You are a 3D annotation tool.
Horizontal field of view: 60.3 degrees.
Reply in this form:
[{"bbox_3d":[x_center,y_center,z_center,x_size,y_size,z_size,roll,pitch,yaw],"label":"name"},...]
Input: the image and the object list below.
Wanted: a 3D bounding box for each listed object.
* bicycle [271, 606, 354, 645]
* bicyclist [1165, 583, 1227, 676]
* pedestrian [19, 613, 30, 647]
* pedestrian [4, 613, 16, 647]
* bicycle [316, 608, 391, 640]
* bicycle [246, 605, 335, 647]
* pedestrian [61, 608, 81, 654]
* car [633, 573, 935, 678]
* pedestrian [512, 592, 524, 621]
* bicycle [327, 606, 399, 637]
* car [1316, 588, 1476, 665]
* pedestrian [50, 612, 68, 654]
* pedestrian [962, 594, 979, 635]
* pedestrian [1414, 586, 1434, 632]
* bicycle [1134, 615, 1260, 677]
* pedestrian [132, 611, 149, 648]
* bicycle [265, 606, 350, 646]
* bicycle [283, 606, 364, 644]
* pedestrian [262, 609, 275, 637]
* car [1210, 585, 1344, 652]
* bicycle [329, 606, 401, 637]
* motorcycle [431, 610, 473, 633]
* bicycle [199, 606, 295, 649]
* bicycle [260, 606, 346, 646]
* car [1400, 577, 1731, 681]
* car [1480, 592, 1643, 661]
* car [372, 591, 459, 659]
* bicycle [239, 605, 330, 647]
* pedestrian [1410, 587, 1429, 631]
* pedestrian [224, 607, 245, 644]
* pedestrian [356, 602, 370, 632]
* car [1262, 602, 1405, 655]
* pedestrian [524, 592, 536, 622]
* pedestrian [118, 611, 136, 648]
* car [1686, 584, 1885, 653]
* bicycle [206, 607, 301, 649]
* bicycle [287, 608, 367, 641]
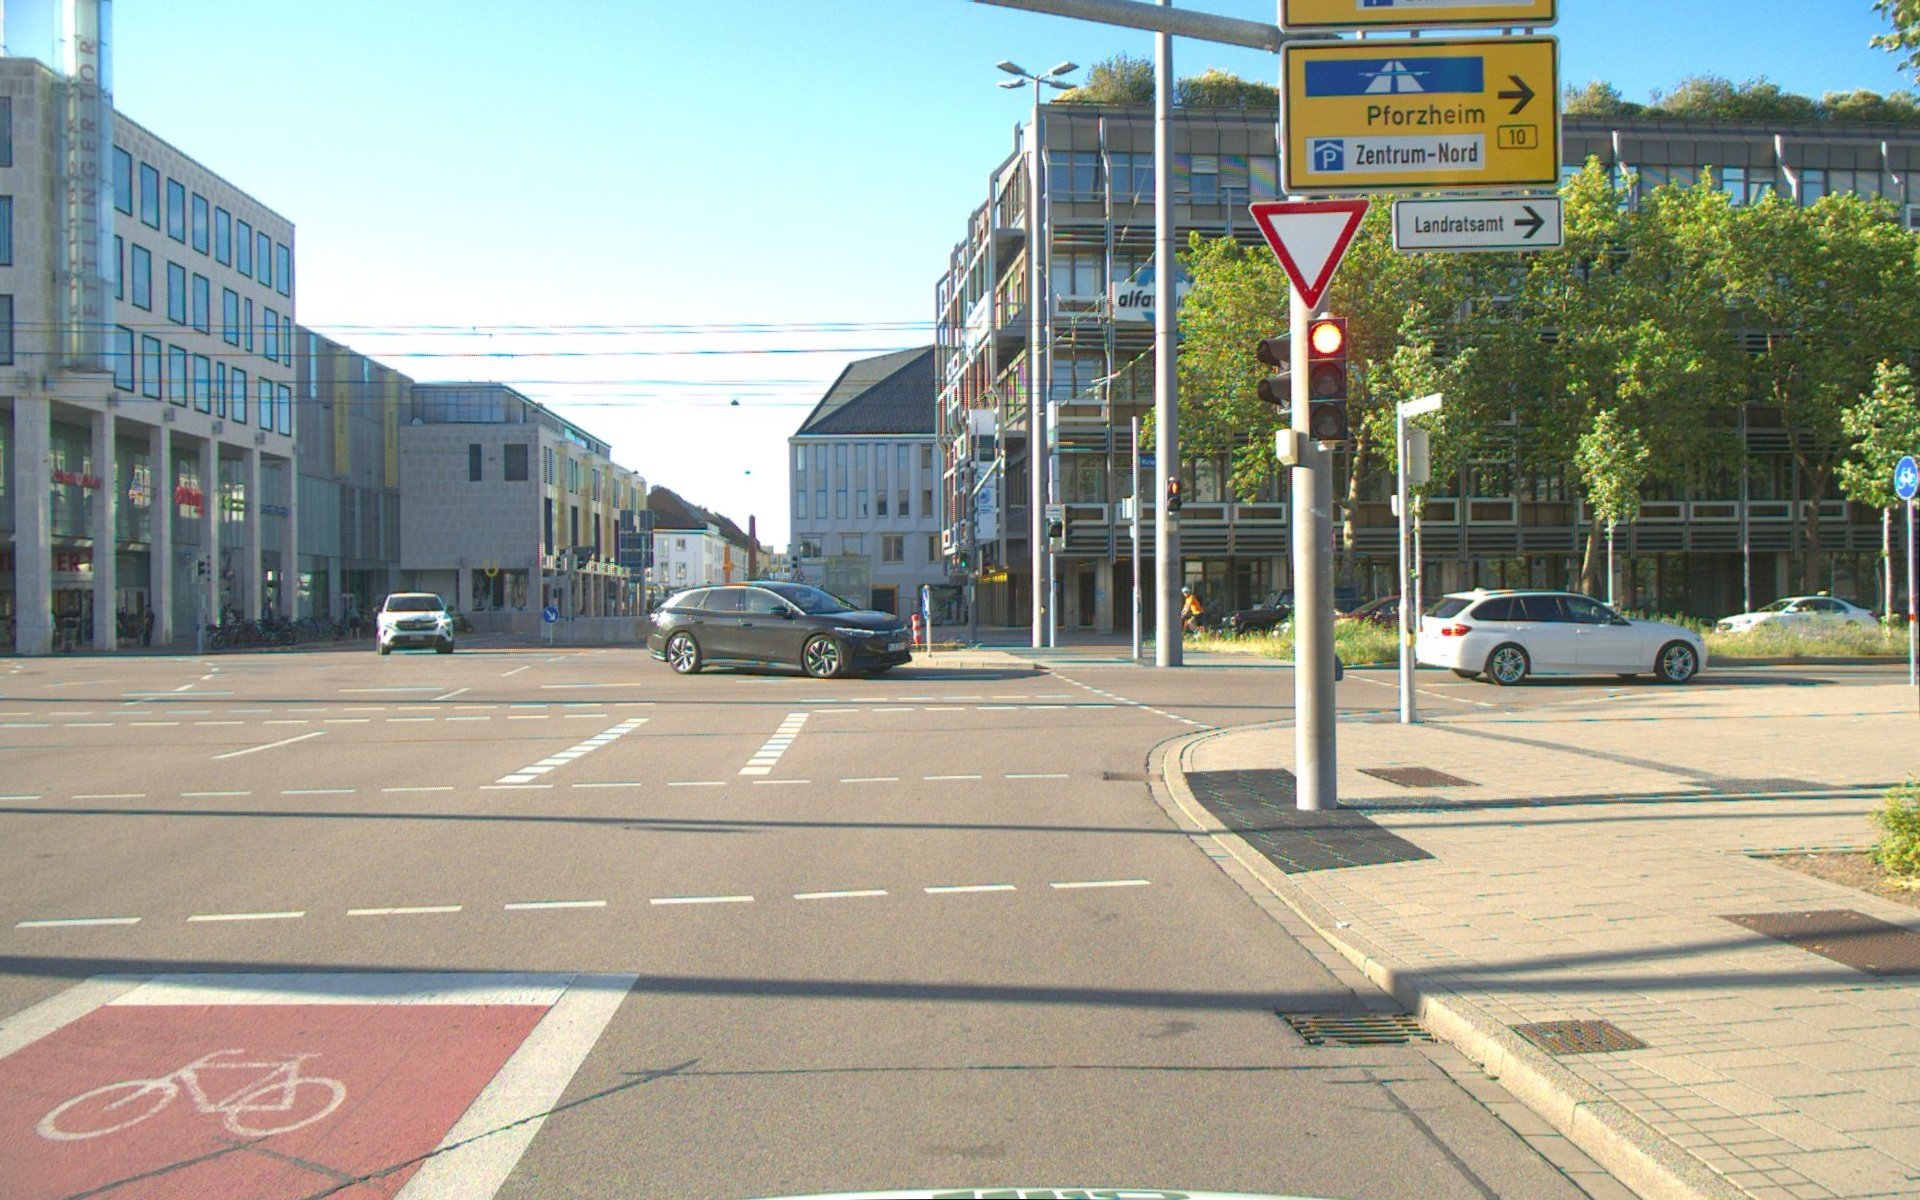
[{"bbox_3d":[-30.034,1.181,76.775,3.430,1.726,0.984,-1,0,-12],"label":"bicycle"},{"bbox_3d":[6.723,0.834,47.218,1.539,2.625,0.930,-1,0,-10],"label":"bicyclist"},{"bbox_3d":[-40.022,1.269,70.758,0.382,1.437,0.434,-1,0,-27],"label":"pedestrian"},{"bbox_3d":[-40.489,1.266,70.473,0.381,1.451,0.499,-1,0,-24],"label":"pedestrian"},{"bbox_3d":[-30.879,1.215,84.260,3.430,1.554,0.984,-1,0,-12],"label":"bicycle"},{"bbox_3d":[-29.093,1.126,71.918,3.427,1.726,1.114,-1,0,-10],"label":"bicycle"},{"bbox_3d":[-32.612,1.116,60.663,0.532,1.671,0.547,-1,0,-19],"label":"pedestrian"},{"bbox_3d":[-3.017,0.405,28.077,4.845,1.629,1.997,-1,1,30],"label":"car"},{"bbox_3d":[-31.257,0.474,116.864,0.613,2.049,0.734,-1,0,1],"label":"pedestrian"},{"bbox_3d":[-31.067,1.123,86.121,3.430,1.554,0.984,-1,0,-12],"label":"bicycle"},{"bbox_3d":[12.237,0.734,46.573,3.908,2.049,1.999,1,0,-3],"label":"car"},{"bbox_3d":[-35.292,1.293,64.773,0.420,1.613,0.498,-1,0,-5],"label":"pedestrian"},{"bbox_3d":[0.422,0.606,68.930,0.650,1.687,0.755,-1,0,-4],"label":"pedestrian"},{"bbox_3d":[17.110,0.332,61.011,0.529,1.698,0.536,-1,0,-3],"label":"pedestrian"},{"bbox_3d":[6.753,1.303,47.217,3.427,1.688,0.929,-1,0,-10],"label":"bicycle"},{"bbox_3d":[-34.744,1.261,70.153,0.472,1.537,0.513,-1,0,-5],"label":"pedestrian"},{"bbox_3d":[-29.793,1.180,75.575,3.430,1.726,0.984,-1,0,-12],"label":"bicycle"},{"bbox_3d":[-30.332,1.190,78.861,3.430,1.726,0.984,-1,0,-12],"label":"bicycle"},{"bbox_3d":[-36.711,1.231,87.821,0.629,1.460,0.472,-1,0,-23],"label":"pedestrian"},{"bbox_3d":[10.310,0.599,53.914,3.908,2.049,1.999,1,0,-3],"label":"car"},{"bbox_3d":[-31.384,1.111,87.238,3.430,1.554,0.984,-1,0,-12],"label":"bicycle"},{"bbox_3d":[-29.951,1.273,97.588,2.230,1.341,0.719,-1,0,-6],"label":"motorcycle"},{"bbox_3d":[-29.317,1.115,68.026,3.427,1.726,1.114,-1,0,-10],"label":"bicycle"},{"bbox_3d":[-29.569,1.171,74.487,3.430,1.726,0.984,-1,0,-12],"label":"bicycle"},{"bbox_3d":[9.660,0.443,26.614,4.595,1.554,1.998,-1,0,-5],"label":"car"},{"bbox_3d":[18.832,0.822,51.874,4.359,2.049,1.998,1,0,-6],"label":"car"},{"bbox_3d":[-14.658,0.615,44.379,1.966,1.689,4.377,-1,1,-22],"label":"car"},{"bbox_3d":[-28.863,1.089,70.706,3.427,1.726,1.114,-1,0,-10],"label":"bicycle"},{"bbox_3d":[17.129,0.336,61.668,0.529,1.618,0.586,-1,0,-3],"label":"pedestrian"},{"bbox_3d":[-33.062,1.174,75.381,0.770,1.671,0.693,-1,0,-13],"label":"pedestrian"},{"bbox_3d":[-33.745,0.965,93.503,0.641,1.671,0.693,-1,0,-9],"label":"pedestrian"},{"bbox_3d":[11.445,0.865,50.810,3.908,1.534,1.867,1,0,-4],"label":"car"},{"bbox_3d":[-30.399,0.489,116.848,0.613,2.049,0.734,-1,0,1],"label":"pedestrian"},{"bbox_3d":[-35.041,1.249,69.574,0.501,1.537,0.513,-1,0,-5],"label":"pedestrian"},{"bbox_3d":[26.177,0.580,52.570,5.332,2.049,2.096,1,0,-3],"label":"car"},{"bbox_3d":[-29.552,1.160,69.241,3.427,1.726,1.114,-1,0,-10],"label":"bicycle"},{"bbox_3d":[-30.537,1.173,79.850,3.430,1.554,0.984,-1,0,-12],"label":"bicycle"}]
